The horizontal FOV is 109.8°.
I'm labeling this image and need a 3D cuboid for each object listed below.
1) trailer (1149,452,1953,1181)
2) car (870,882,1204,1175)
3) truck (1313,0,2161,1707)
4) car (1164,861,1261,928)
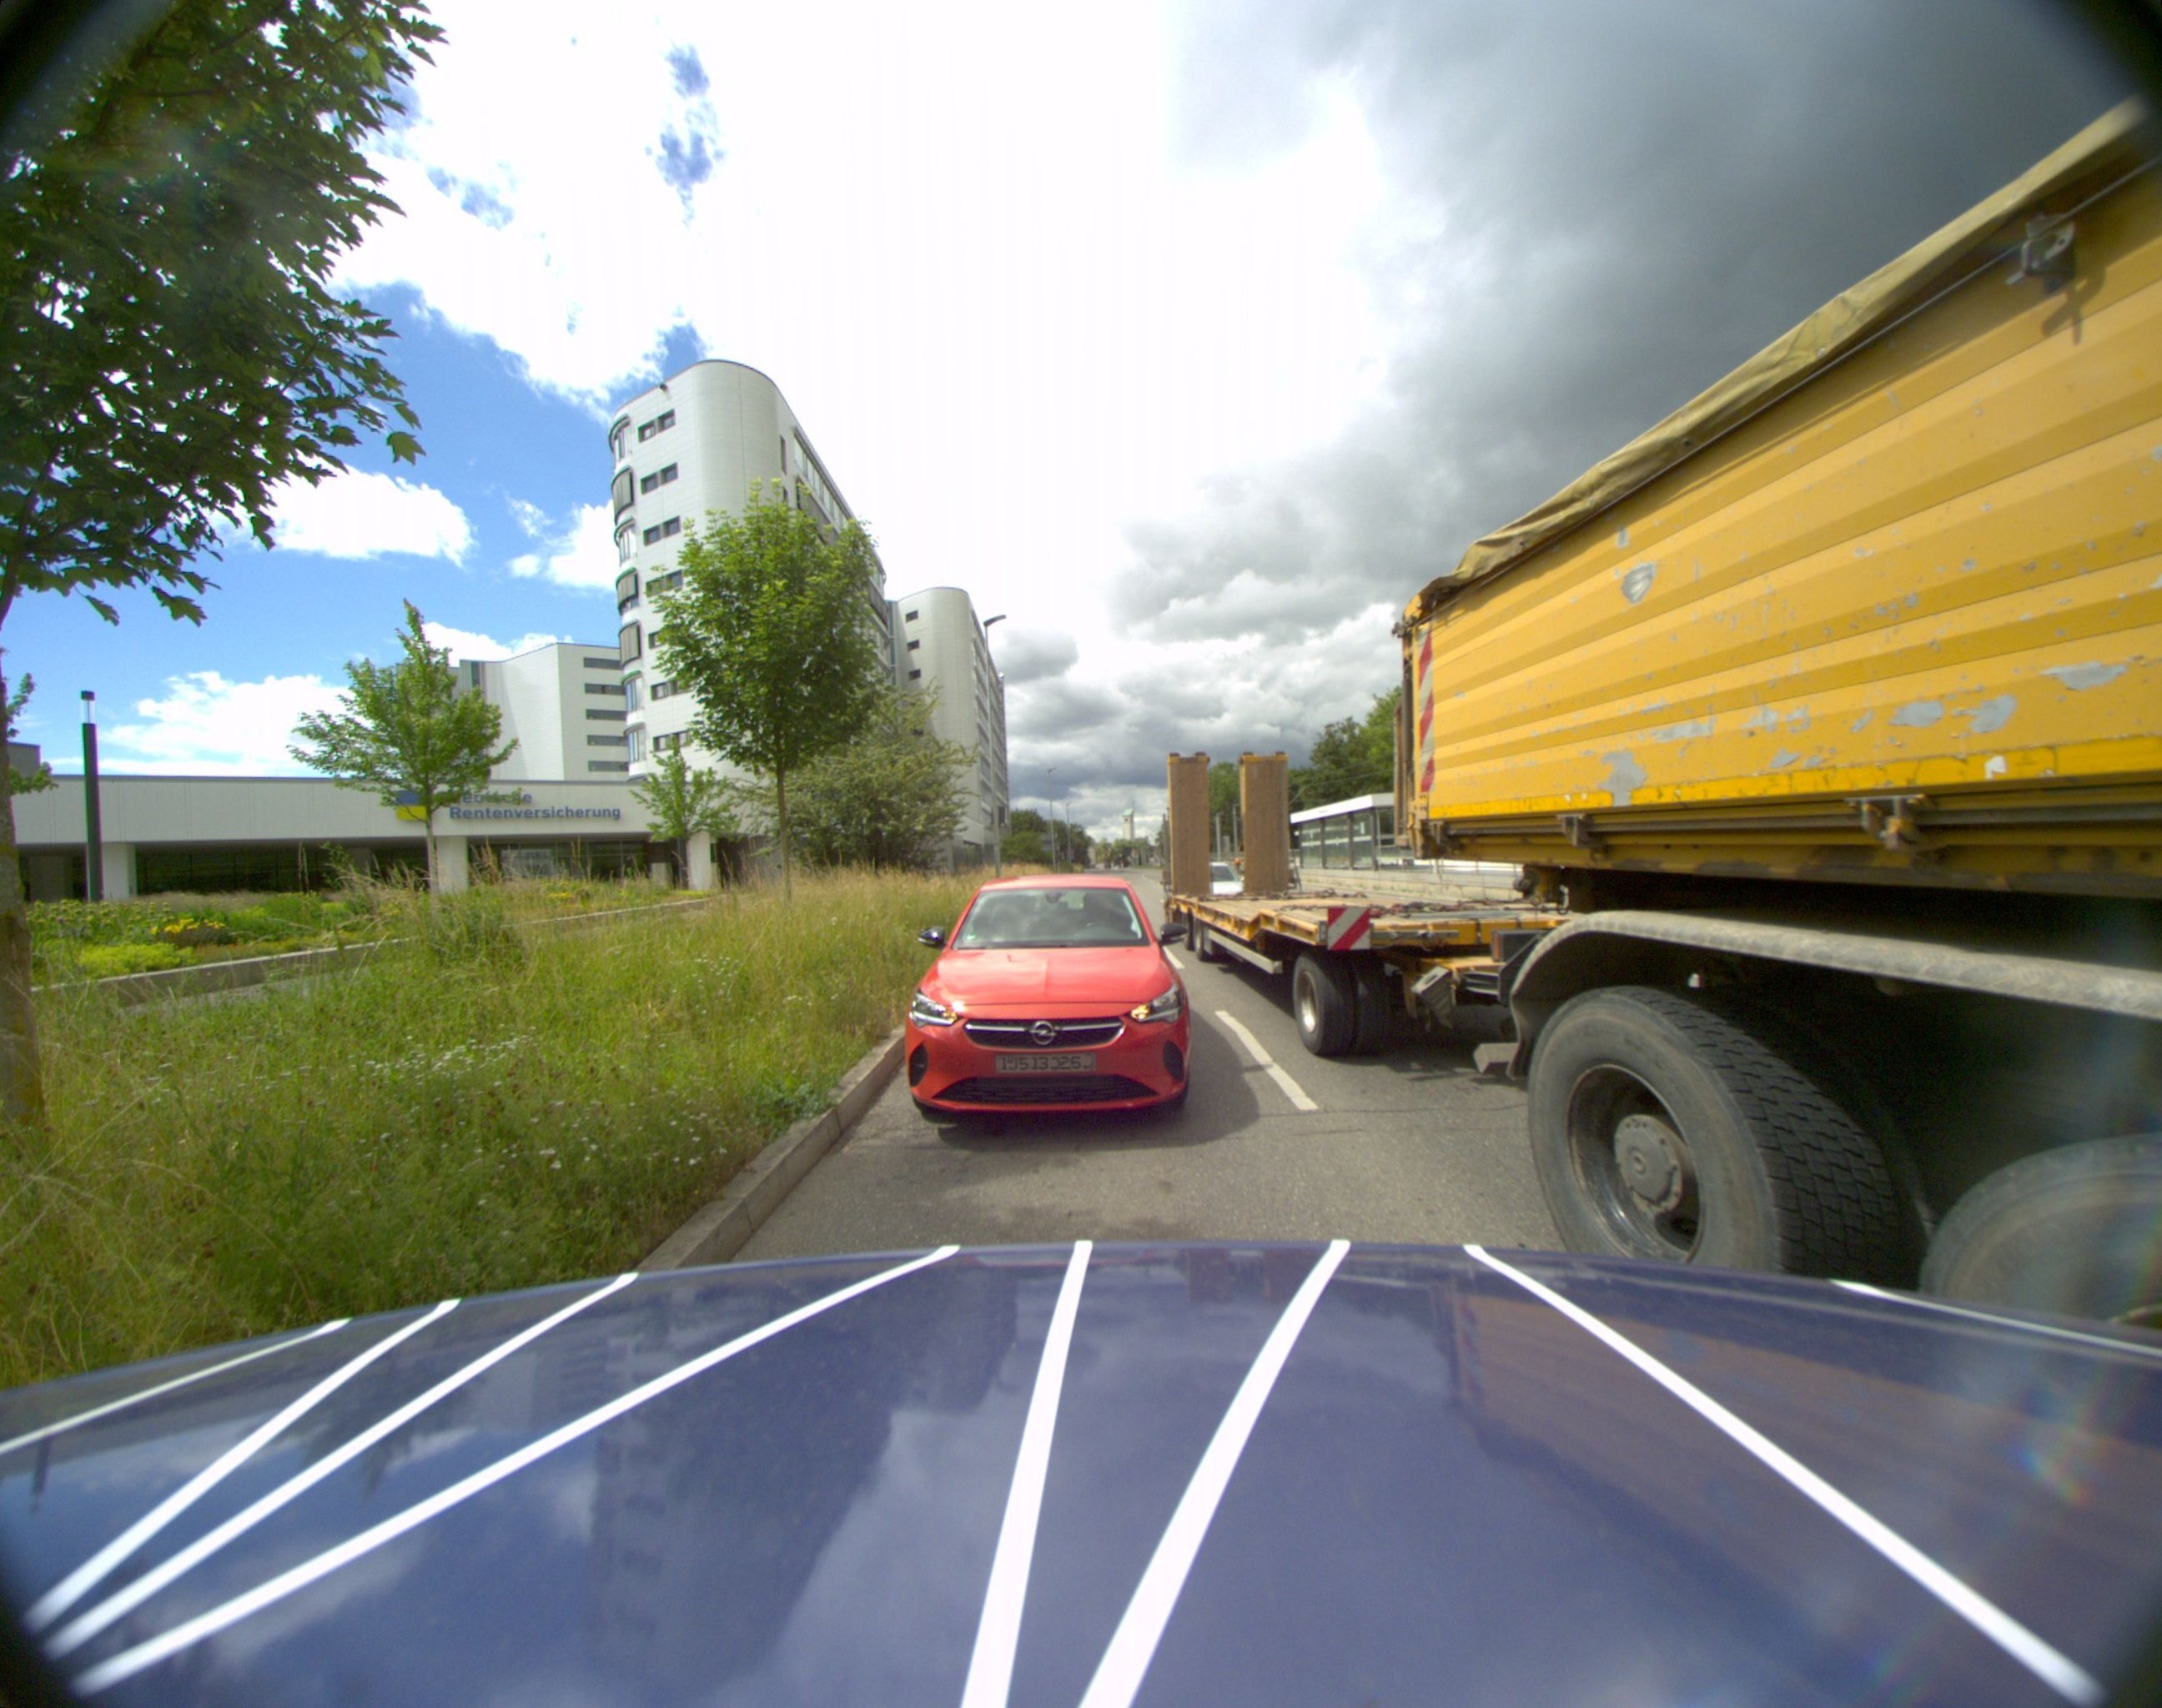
[{"bbox_3d":[2.938,-0.170,9.424,3.057,3.676,10.965,-2,0,0],"label":"trailer"},{"bbox_3d":[-0.201,0.992,5.854,1.749,1.408,3.676,-1,0,1],"label":"car"},{"bbox_3d":[2.866,-0.057,0.123,3.057,3.374,8.006,-2,0,0],"label":"truck"},{"bbox_3d":[3.175,0.936,18.978,1.784,1.408,3.785,-2,0,1],"label":"car"}]
